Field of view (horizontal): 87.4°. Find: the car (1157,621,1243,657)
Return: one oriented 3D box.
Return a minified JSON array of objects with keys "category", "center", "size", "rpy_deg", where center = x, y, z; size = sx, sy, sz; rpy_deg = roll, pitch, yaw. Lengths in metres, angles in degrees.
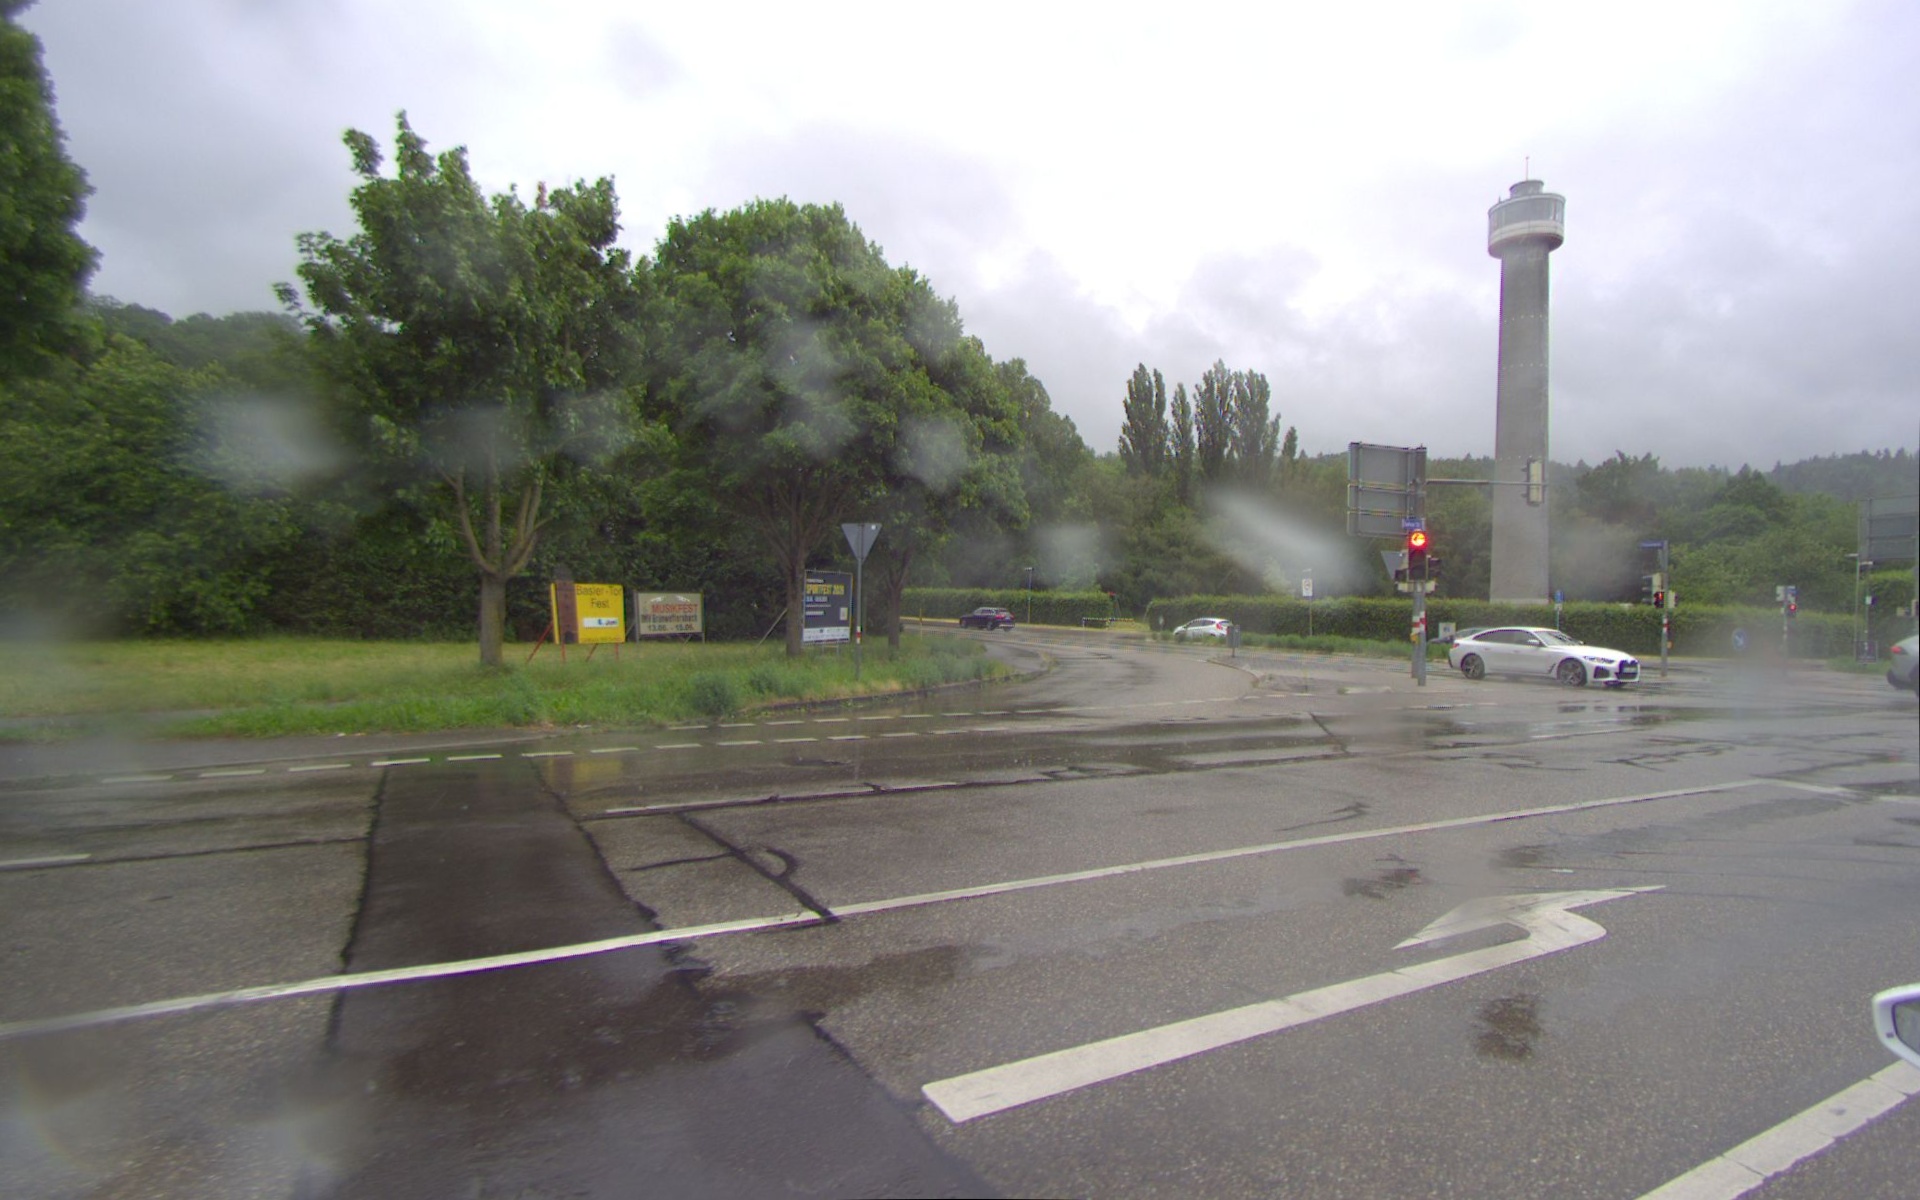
[{"category":"car","center":[13.729,2.200,57.710],"size":[1.898,1.941,4.634],"rpy_deg":[1,-1,-37]}]

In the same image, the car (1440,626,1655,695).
[{"category":"car","center":[15.309,1.511,26.524],"size":[1.773,1.574,4.872],"rpy_deg":[1,-1,-22]}]

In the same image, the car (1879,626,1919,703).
[{"category":"car","center":[21.677,1.414,20.059],"size":[1.885,1.601,4.518],"rpy_deg":[1,0,-22]}]

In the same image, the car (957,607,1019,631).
[{"category":"car","center":[1.961,1.354,72.103],"size":[1.808,1.661,4.629],"rpy_deg":[1,-1,-40]}]
